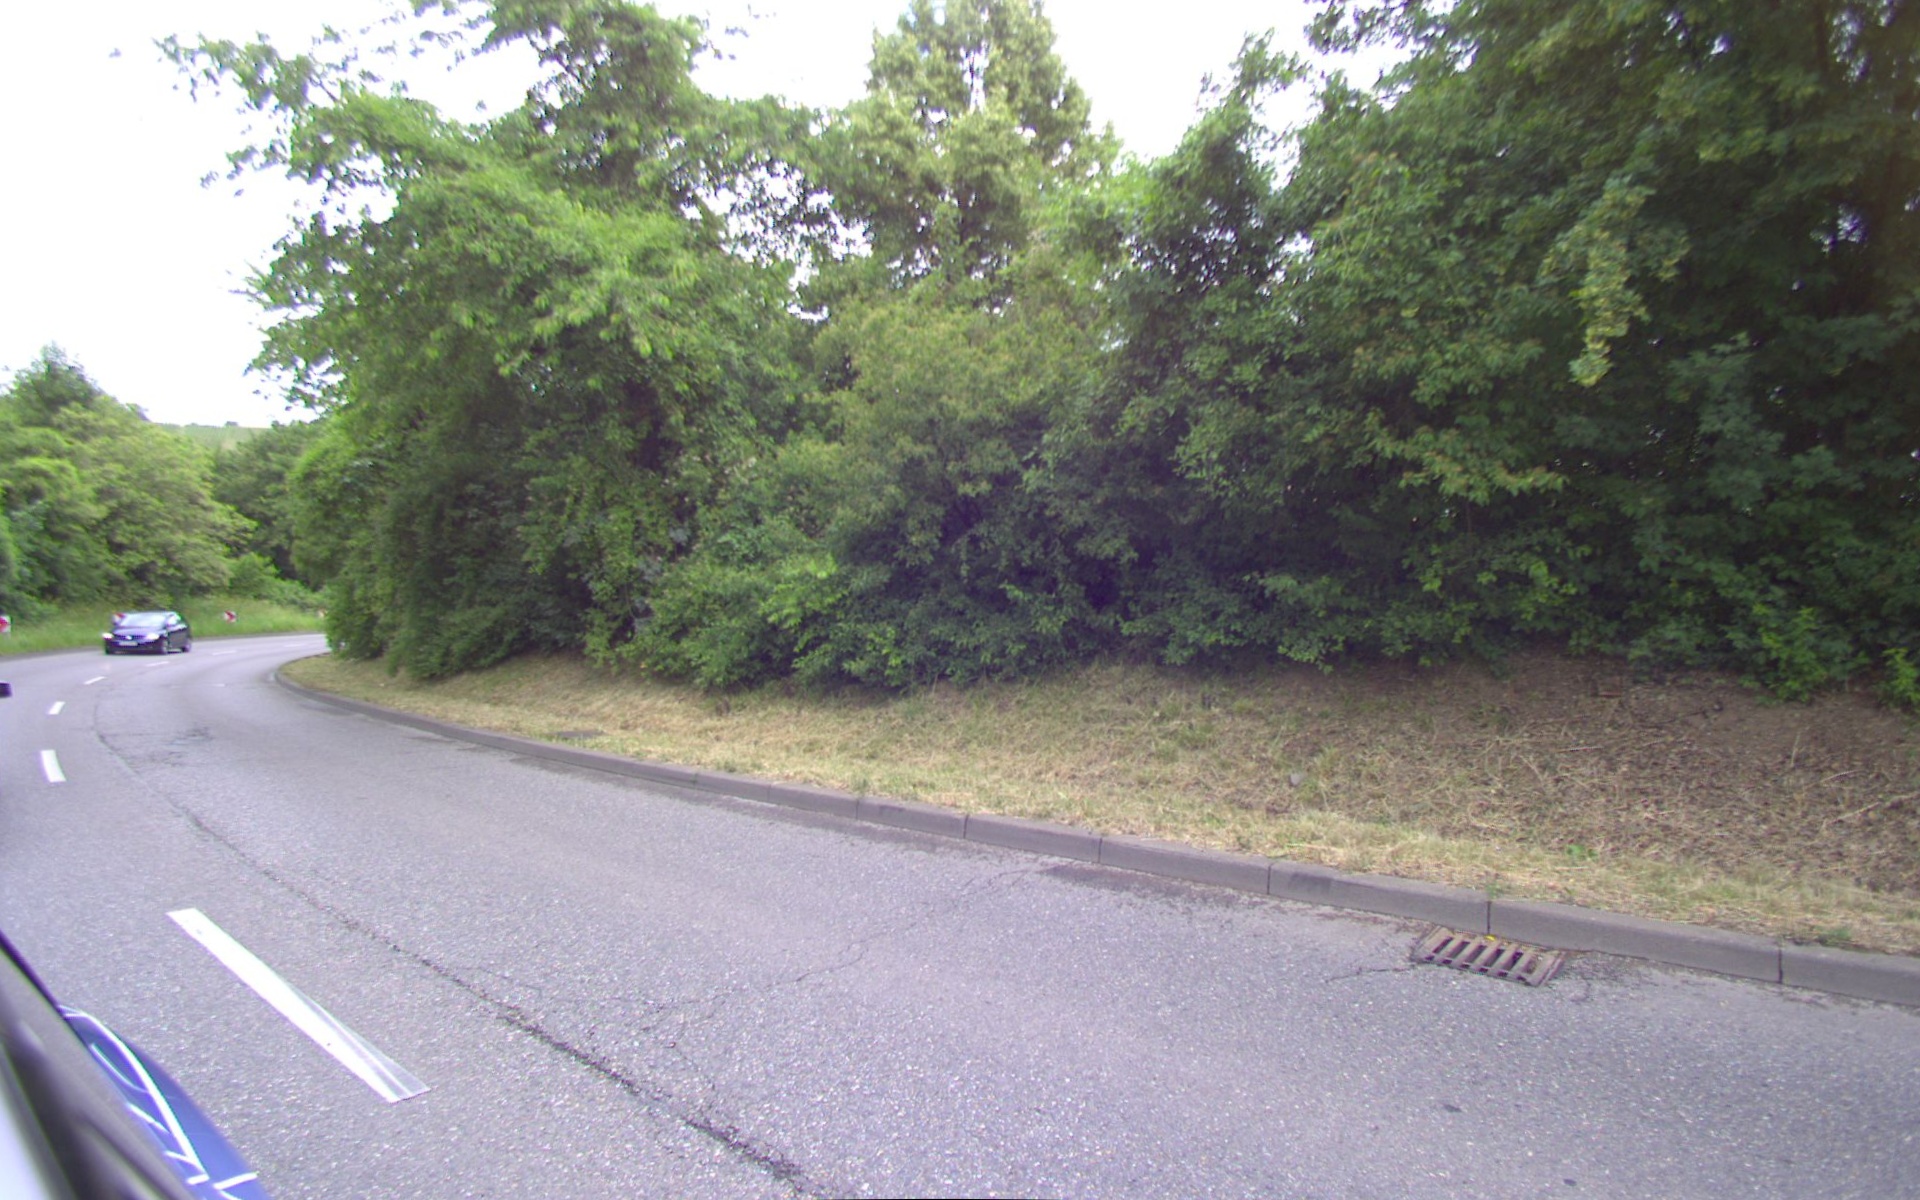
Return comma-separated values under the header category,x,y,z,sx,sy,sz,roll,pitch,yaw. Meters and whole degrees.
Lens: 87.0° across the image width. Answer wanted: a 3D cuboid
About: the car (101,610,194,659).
category,x,y,z,sx,sy,sz,roll,pitch,yaw
car,-29.758,1.229,37.184,1.527,1.657,3.752,4,-2,-21
